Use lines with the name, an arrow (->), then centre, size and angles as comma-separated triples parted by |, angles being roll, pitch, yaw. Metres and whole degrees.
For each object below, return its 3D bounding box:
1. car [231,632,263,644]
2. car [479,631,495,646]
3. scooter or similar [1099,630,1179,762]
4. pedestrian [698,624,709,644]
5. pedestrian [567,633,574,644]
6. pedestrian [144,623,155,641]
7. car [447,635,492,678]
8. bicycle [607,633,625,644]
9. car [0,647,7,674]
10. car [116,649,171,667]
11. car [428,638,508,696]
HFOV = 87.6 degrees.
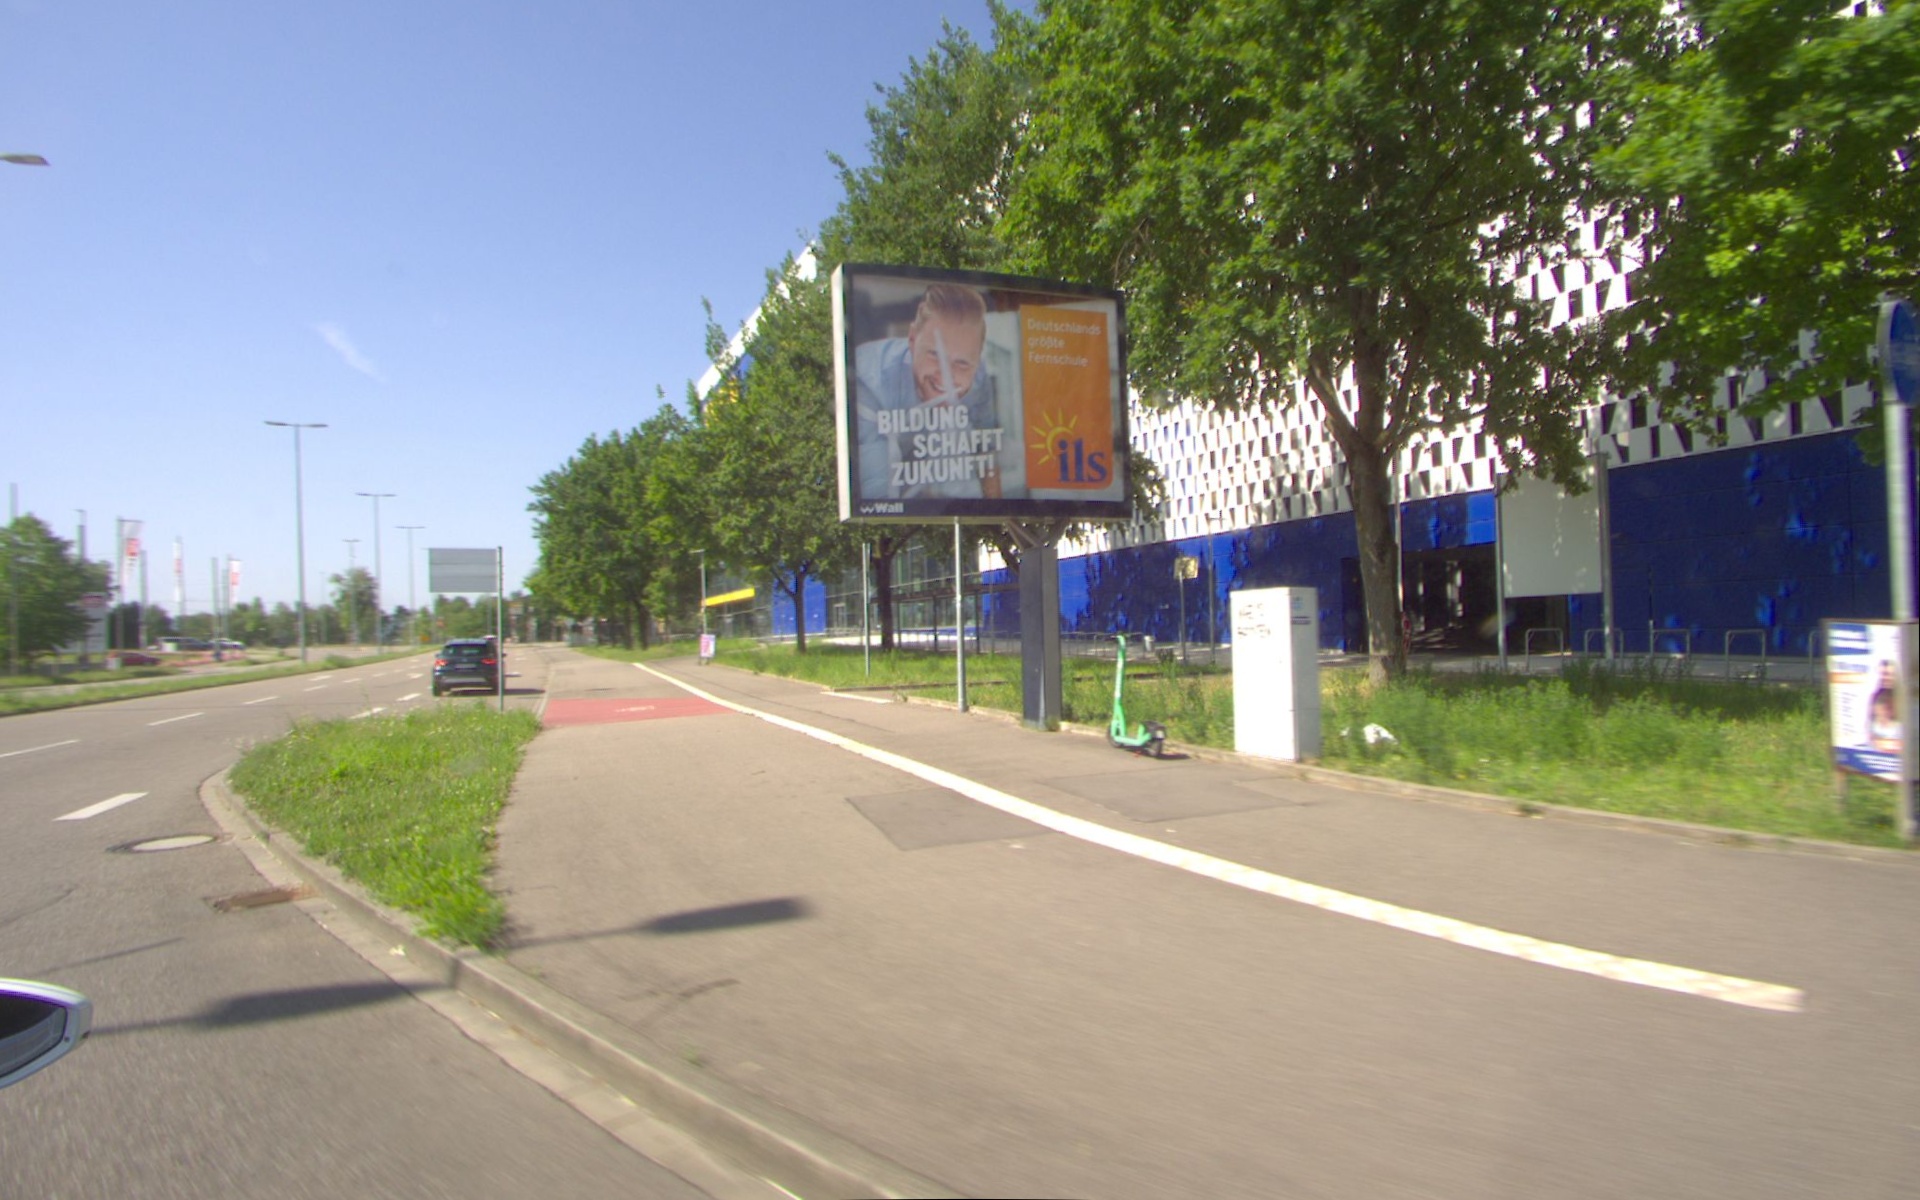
car -> -96.356, 5.143, 135.322 | 3.304, 1.518, 1.404 | 0, -2, -28
car -> -54.826, 4.474, 116.094 | 1.685, 1.593, 4.159 | -2, -1, -25
scooter or similar -> 1.718, 0.905, 9.737 | 0.395, 1.181, 1.185 | -1, -2, -7
pedestrian -> -21.336, 2.823, 83.442 | 0.680, 1.633, 0.768 | -2, 0, -28
pedestrian -> -56.032, 5.526, 144.131 | 0.761, 1.531, 1.006 | -1, 1, -13
pedestrian -> -94.924, 3.730, 117.314 | 0.706, 1.997, 0.916 | -1, -2, -20
car -> -20.250, 2.291, 41.301 | 1.611, 1.518, 3.852 | 0, 0, -27
bicycle -> -35.662, 3.955, 103.782 | 1.735, 1.110, 0.450 | -1, 0, -24
car -> -68.743, 4.237, 68.719 | 4.356, 1.866, 1.939 | -1, -2, -25
car -> -83.421, 5.910, 102.370 | 4.135, 1.625, 1.819 | 0, -3, -29
car -> -13.991, 1.863, 28.635 | 1.646, 1.543, 3.370 | 0, -2, -19
